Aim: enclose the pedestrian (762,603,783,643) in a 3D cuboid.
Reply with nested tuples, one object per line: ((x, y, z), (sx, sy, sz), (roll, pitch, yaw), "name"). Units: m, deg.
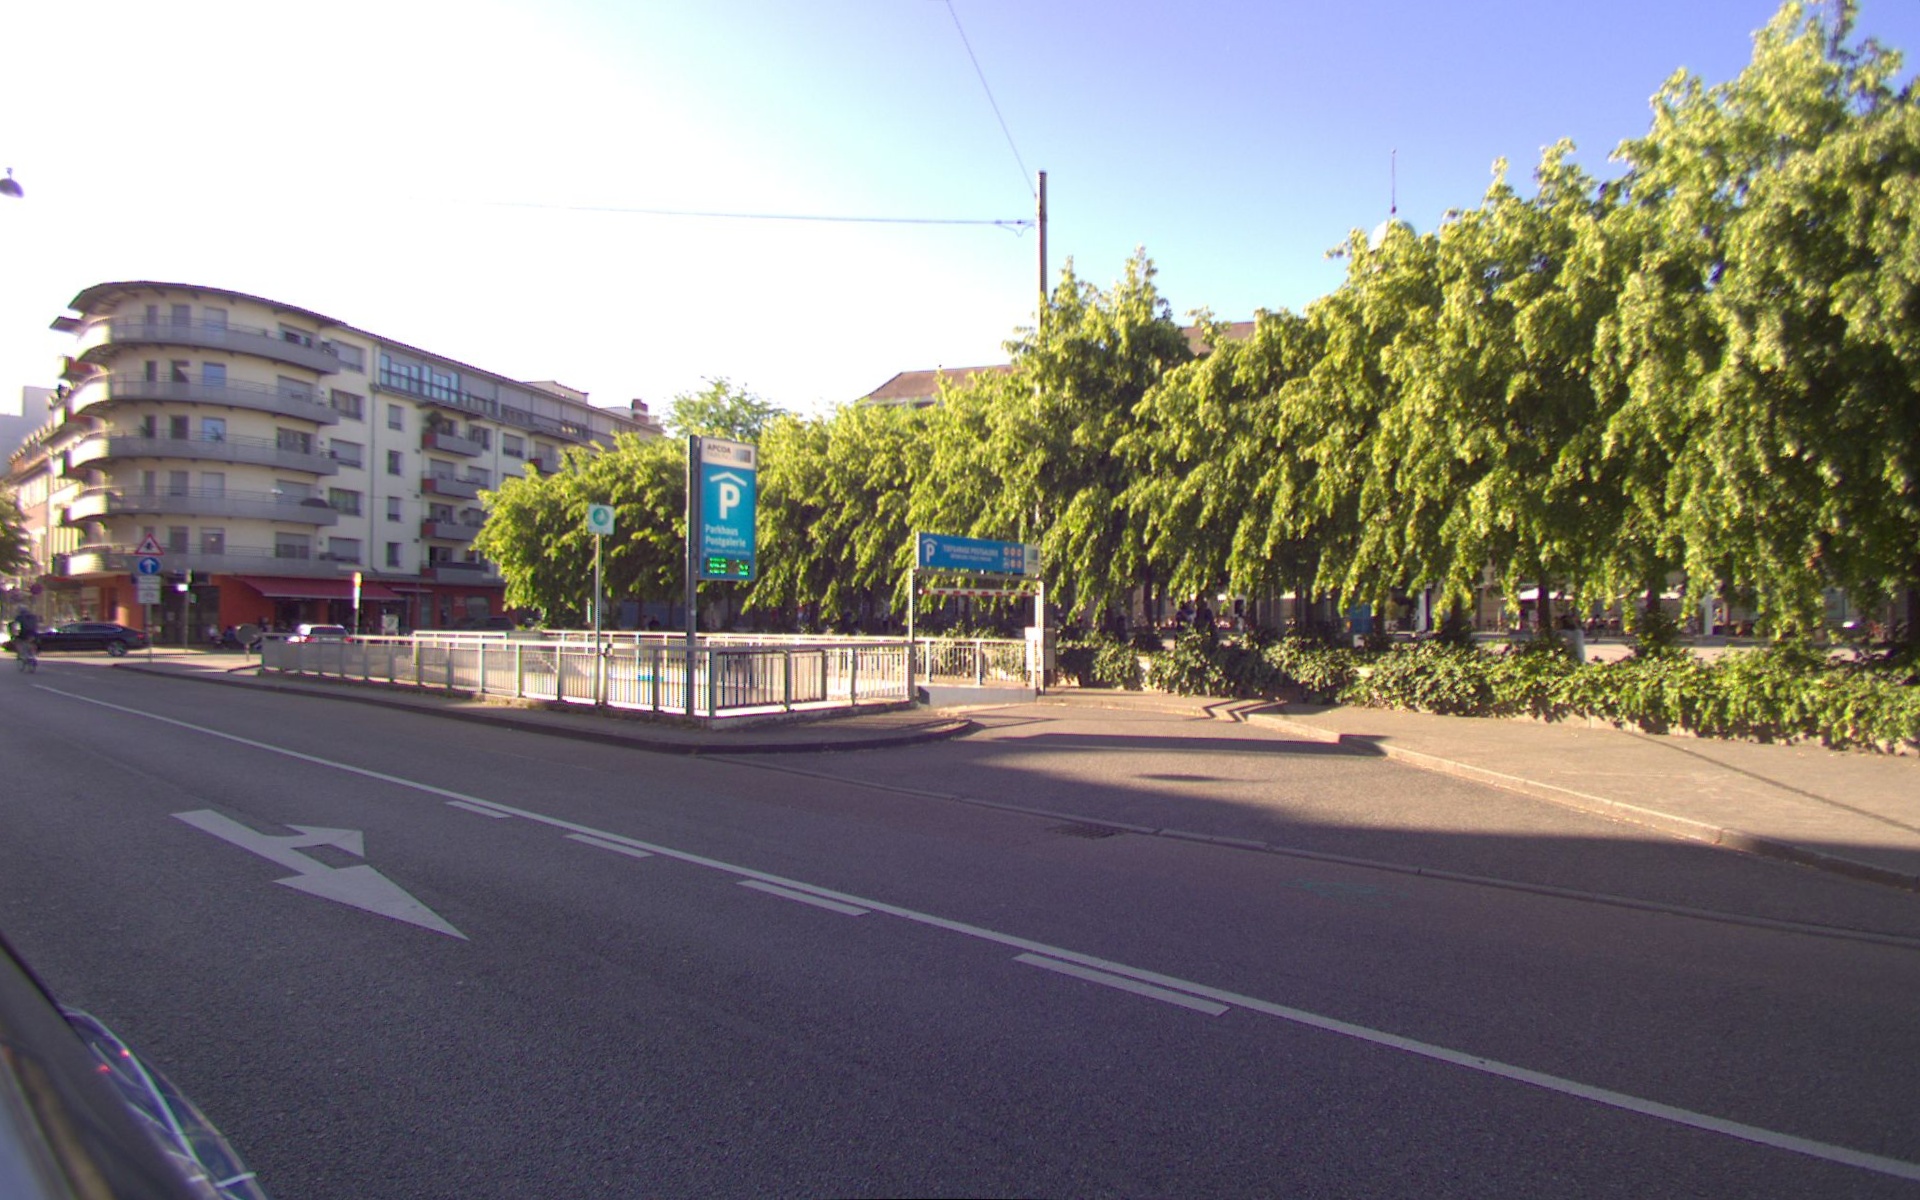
((-9.054, 1.102, 48.965), (0.681, 1.877, 0.741), (-1, 0, 27), "pedestrian")

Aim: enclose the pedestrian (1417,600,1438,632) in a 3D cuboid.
((22.880, 0.796, 49.514), (0.673, 1.536, 0.695), (-1, 0, -42), "pedestrian")

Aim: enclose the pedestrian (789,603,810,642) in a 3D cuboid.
((-7.894, 1.096, 49.771), (0.681, 1.857, 0.741), (-1, 0, 27), "pedestrian")

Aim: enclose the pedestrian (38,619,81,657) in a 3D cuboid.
((-41.410, 1.735, 46.569), (1.052, 1.732, 1.083), (-1, 0, -10), "pedestrian")

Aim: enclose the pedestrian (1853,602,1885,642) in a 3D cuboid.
((35.644, 0.866, 39.681), (0.736, 1.542, 0.688), (-1, 0, 24), "pedestrian")

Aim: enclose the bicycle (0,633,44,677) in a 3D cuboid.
((-26.725, 1.548, 28.795), (1.954, 1.171, 0.610), (0, -3, 38), "bicycle")

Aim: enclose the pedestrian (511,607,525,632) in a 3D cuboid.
((-32.847, 1.419, 75.235), (0.736, 1.857, 0.684), (-1, 0, -3), "pedestrian")

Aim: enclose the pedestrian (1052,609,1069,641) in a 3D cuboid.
((4.461, 1.107, 44.825), (0.684, 1.385, 0.684), (-1, 0, 1), "pedestrian")

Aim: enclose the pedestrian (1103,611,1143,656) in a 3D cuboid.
((4.036, 0.827, 25.105), (0.682, 1.079, 0.686), (-1, 0, -29), "pedestrian")

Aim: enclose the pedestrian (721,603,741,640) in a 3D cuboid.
((-11.402, 1.061, 50.396), (0.679, 1.857, 0.743), (-1, 0, 19), "pedestrian")

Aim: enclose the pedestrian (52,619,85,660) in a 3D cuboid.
((-43.461, 1.915, 49.354), (0.787, 1.934, 0.981), (-1, 0, 28), "pedestrian")

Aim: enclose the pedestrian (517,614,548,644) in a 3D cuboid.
((-23.922, 1.619, 56.651), (1.127, 1.678, 1.269), (-1, 0, 10), "pedestrian")

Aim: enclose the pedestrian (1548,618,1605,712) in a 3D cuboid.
((9.796, 1.014, 16.098), (0.611, 1.447, 0.588), (-1, 0, 14), "pedestrian")

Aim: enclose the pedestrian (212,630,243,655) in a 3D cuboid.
((-36.830, 2.125, 50.904), (0.827, 1.207, 0.931), (-1, 0, 16), "pedestrian")

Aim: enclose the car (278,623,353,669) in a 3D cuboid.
((-23.720, 1.655, 37.204), (1.614, 1.542, 3.911), (-1, 0, -44), "car")

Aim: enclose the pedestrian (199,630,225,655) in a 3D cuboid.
((-37.651, 2.136, 50.948), (0.882, 1.207, 0.772), (-1, 0, 30), "pedestrian")

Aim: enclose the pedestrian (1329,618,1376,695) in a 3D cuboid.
((7.513, 1.062, 19.354), (0.622, 1.409, 0.644), (-1, 0, 44), "pedestrian")

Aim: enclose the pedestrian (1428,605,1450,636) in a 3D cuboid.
((23.669, 1.012, 49.978), (0.672, 1.542, 0.696), (-1, 0, -18), "pedestrian")

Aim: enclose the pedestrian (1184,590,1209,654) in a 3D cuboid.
((5.928, 0.542, 25.391), (0.522, 1.594, 0.680), (-1, 0, 19), "pedestrian")

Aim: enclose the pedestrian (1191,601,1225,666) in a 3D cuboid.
((5.823, 0.773, 23.756), (0.688, 1.511, 0.680), (-1, 0, 19), "pedestrian")

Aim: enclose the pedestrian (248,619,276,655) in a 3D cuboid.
((-34.986, 1.857, 50.715), (0.946, 1.762, 1.065), (-1, 0, -24), "pedestrian")

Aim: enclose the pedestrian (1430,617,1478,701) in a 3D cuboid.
((8.740, 1.027, 17.907), (0.621, 1.447, 0.645), (-1, 0, 39), "pedestrian")

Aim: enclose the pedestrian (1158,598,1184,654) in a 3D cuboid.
((5.348, 0.658, 25.606), (0.545, 1.385, 0.680), (-1, 0, 19), "pedestrian")

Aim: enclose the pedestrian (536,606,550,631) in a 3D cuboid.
((-31.354, 1.399, 76.089), (0.684, 1.857, 0.737), (-1, 0, 41), "pedestrian")

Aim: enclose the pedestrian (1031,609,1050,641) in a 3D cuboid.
((3.566, 1.119, 44.862), (0.752, 1.385, 0.684), (-1, 0, 1), "pedestrian")

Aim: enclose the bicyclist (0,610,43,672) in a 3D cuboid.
((-26.788, 1.165, 28.891), (0.808, 1.722, 0.694), (-1, -3, 36), "bicyclist")

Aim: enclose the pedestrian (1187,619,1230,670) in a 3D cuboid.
((5.502, 0.974, 22.447), (0.682, 1.079, 0.686), (-1, 0, -13), "pedestrian")

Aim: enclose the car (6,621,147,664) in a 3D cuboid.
((-35.888, 1.692, 41.272), (4.180, 1.542, 1.681), (-1, 0, -36), "car")
